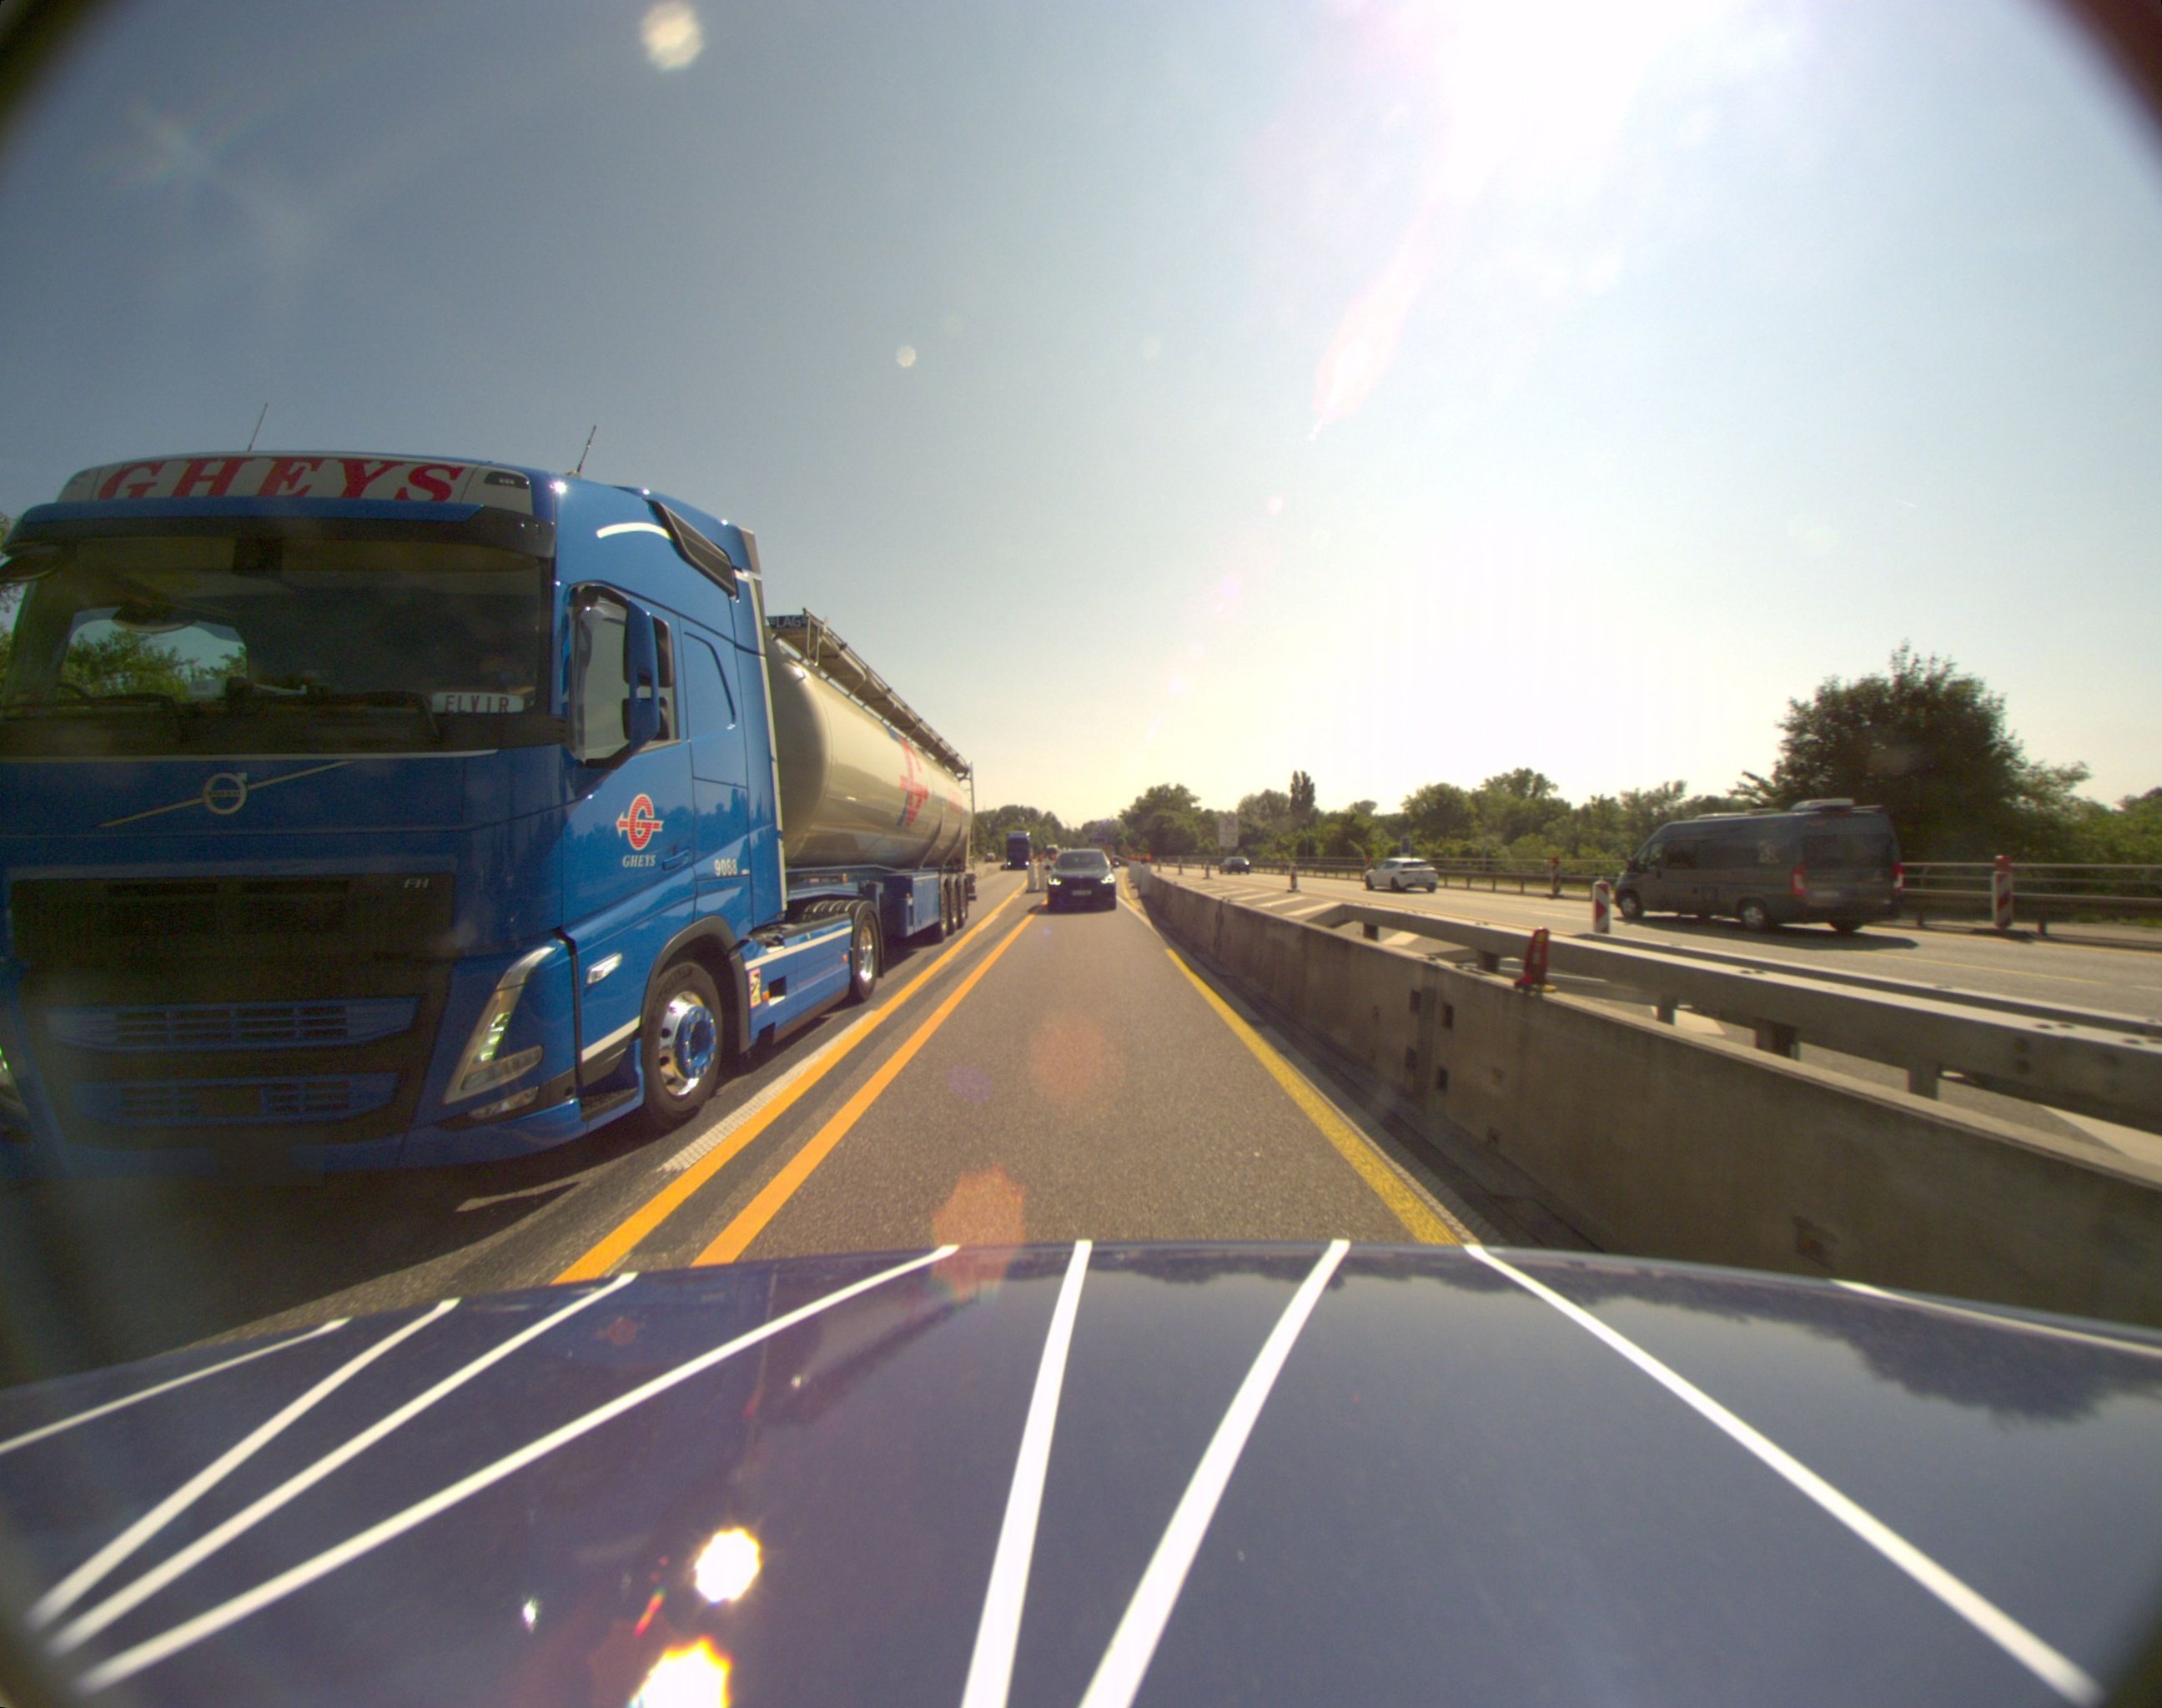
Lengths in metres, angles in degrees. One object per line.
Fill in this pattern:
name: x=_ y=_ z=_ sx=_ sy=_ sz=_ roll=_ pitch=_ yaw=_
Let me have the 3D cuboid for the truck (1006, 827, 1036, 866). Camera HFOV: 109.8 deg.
truck: x=-6.457 y=-0.792 z=82.802 sx=2.861 sy=3.962 sz=8.662 roll=1 pitch=0 yaw=-3

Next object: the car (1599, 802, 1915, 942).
car: x=14.684 y=0.316 z=17.152 sx=2.151 sy=2.645 sz=5.545 roll=0 pitch=1 yaw=-1

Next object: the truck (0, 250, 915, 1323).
truck: x=-3.536 y=-0.272 z=6.565 sx=2.701 sy=4.079 sz=7.298 roll=-1 pitch=1 yaw=-2

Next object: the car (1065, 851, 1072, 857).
car: x=-4.209 y=-0.066 z=248.097 sx=1.998 sy=2.002 sz=4.000 roll=1 pitch=0 yaw=2

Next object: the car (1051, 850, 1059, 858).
car: x=-5.927 y=-0.041 z=174.102 sx=1.747 sy=1.621 sz=4.092 roll=1 pitch=0 yaw=0

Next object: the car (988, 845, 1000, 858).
car: x=-18.302 y=-0.624 z=159.966 sx=2.111 sy=2.627 sz=5.979 roll=1 pitch=0 yaw=-9

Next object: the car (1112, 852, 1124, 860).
car: x=7.513 y=0.353 z=153.330 sx=1.938 sy=1.499 sz=4.467 roll=0 pitch=0 yaw=-4

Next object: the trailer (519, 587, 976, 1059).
trailer: x=-3.770 y=-0.311 z=12.978 sx=2.701 sy=4.113 sz=12.610 roll=-1 pitch=0 yaw=-2

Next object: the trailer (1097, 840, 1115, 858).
trailer: x=5.994 y=-1.142 z=183.234 sx=2.769 sy=4.112 sz=14.525 roll=1 pitch=0 yaw=-4

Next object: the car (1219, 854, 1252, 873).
car: x=12.914 y=0.776 z=63.883 sx=1.742 sy=1.467 sz=4.644 roll=0 pitch=0 yaw=-1

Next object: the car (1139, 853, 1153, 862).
car: x=10.214 y=0.504 z=119.700 sx=1.671 sy=1.433 sz=4.995 roll=0 pitch=0 yaw=-1

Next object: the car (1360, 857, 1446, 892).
car: x=14.123 y=0.848 z=33.626 sx=1.723 sy=1.389 sz=4.518 roll=-1 pitch=0 yaw=-2

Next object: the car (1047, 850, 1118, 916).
car: x=0.084 y=0.745 z=22.035 sx=1.789 sy=1.651 sz=4.487 roll=-2 pitch=0 yaw=1
